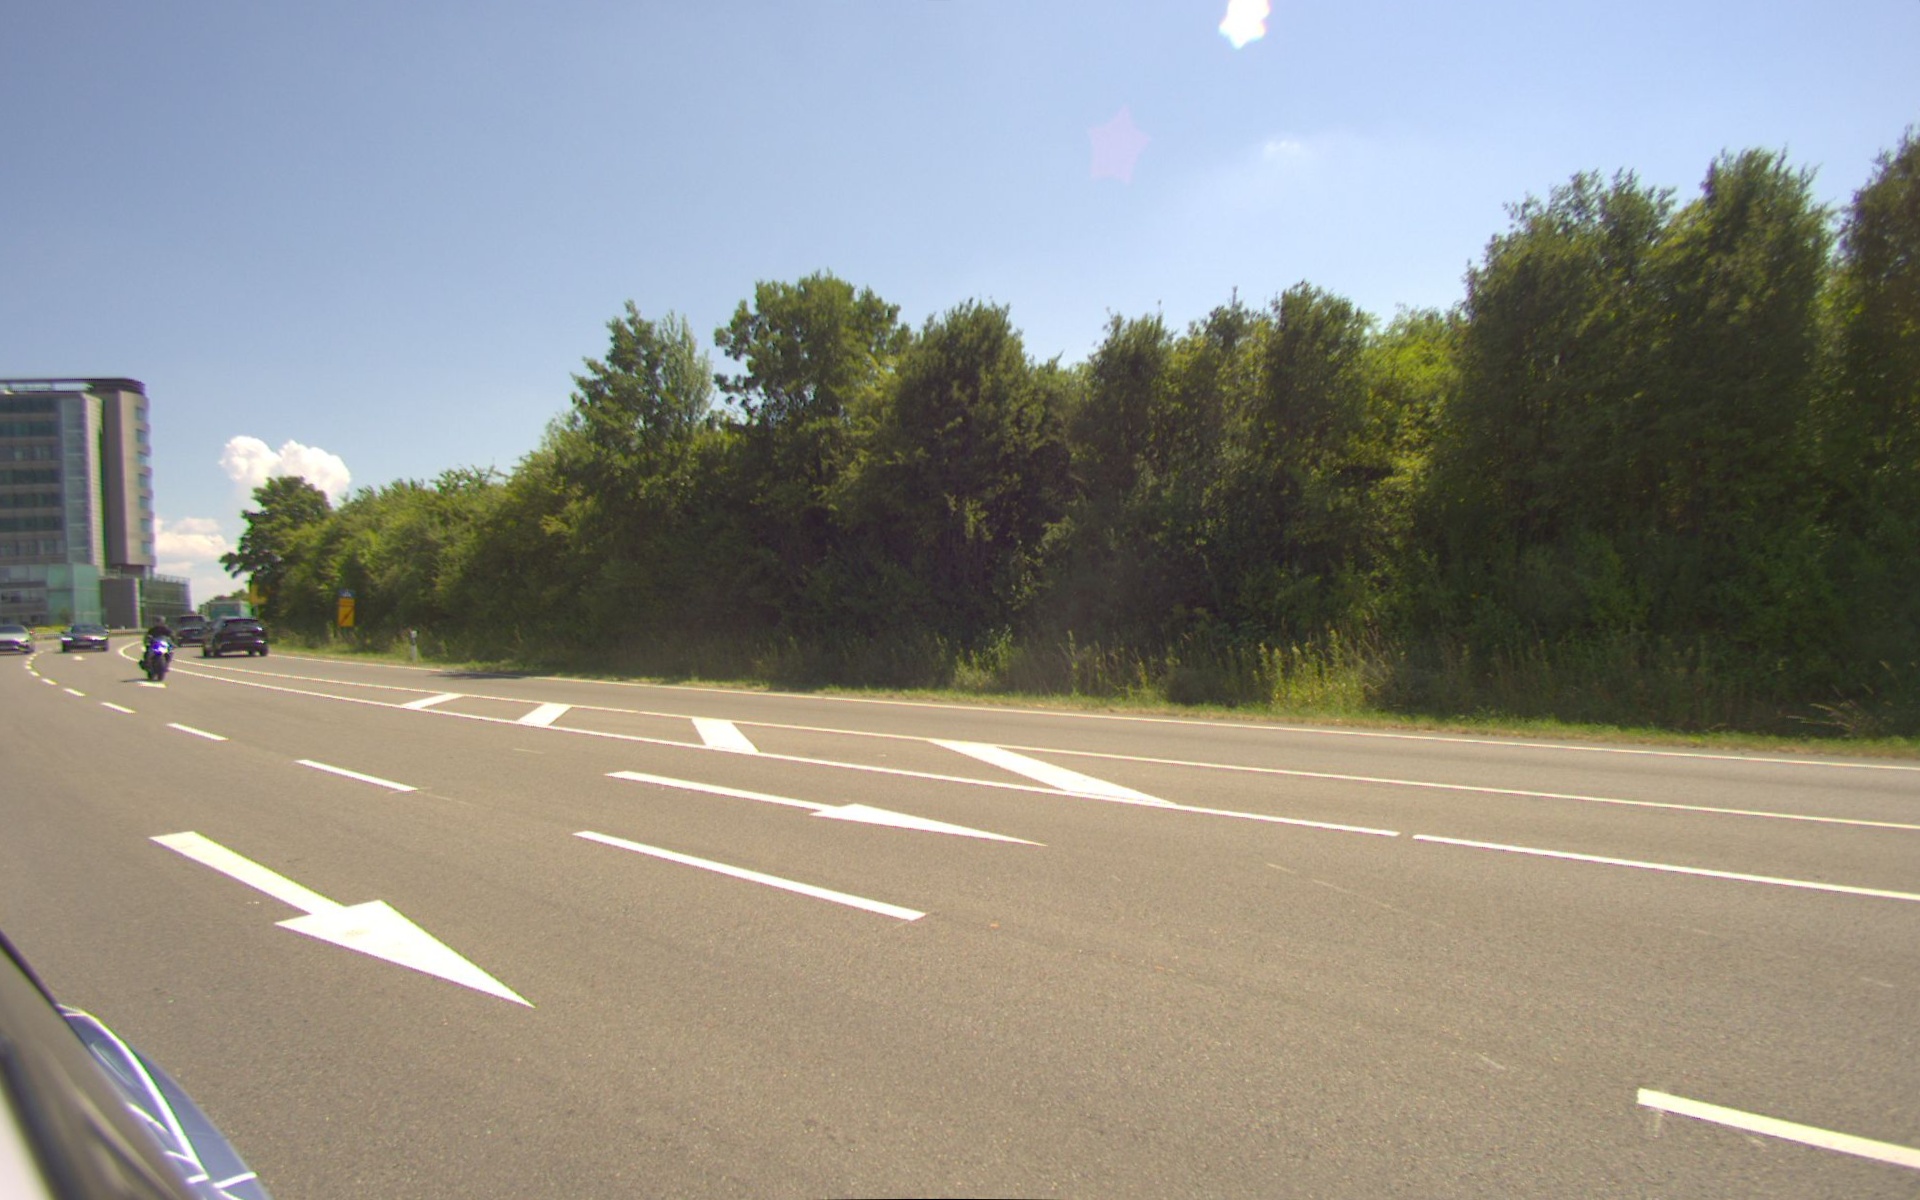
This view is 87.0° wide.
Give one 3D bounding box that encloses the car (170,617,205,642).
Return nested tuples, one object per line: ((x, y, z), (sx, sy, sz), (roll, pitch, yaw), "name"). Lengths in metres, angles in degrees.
((-61.792, 2.324, 80.890), (1.969, 1.909, 5.112), (0, -1, -40), "car")

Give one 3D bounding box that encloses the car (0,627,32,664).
((-46.119, 2.236, 48.731), (1.905, 1.598, 4.185), (-4, -1, -41), "car")

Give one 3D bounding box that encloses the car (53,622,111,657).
((-44.600, 1.988, 51.474), (2.085, 1.603, 4.458), (-1, 0, -40), "car")

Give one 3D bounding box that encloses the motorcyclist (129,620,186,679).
((-20.710, 1.265, 26.103), (1.159, 1.500, 0.851), (-2, -2, 35), "motorcyclist")

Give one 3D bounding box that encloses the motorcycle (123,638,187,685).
((-20.830, 1.575, 26.187), (2.068, 1.147, 0.726), (-2, -2, 35), "motorcycle")

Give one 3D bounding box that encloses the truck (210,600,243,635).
((-79.103, 1.938, 109.100), (2.831, 3.601, 9.452), (0, -1, -36), "truck")

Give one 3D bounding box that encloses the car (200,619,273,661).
((-30.023, 1.614, 41.946), (1.969, 1.605, 4.688), (0, -1, -42), "car")

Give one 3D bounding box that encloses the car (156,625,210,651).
((-44.581, 2.147, 58.041), (4.645, 1.453, 1.796), (-2, -2, 44), "car")
